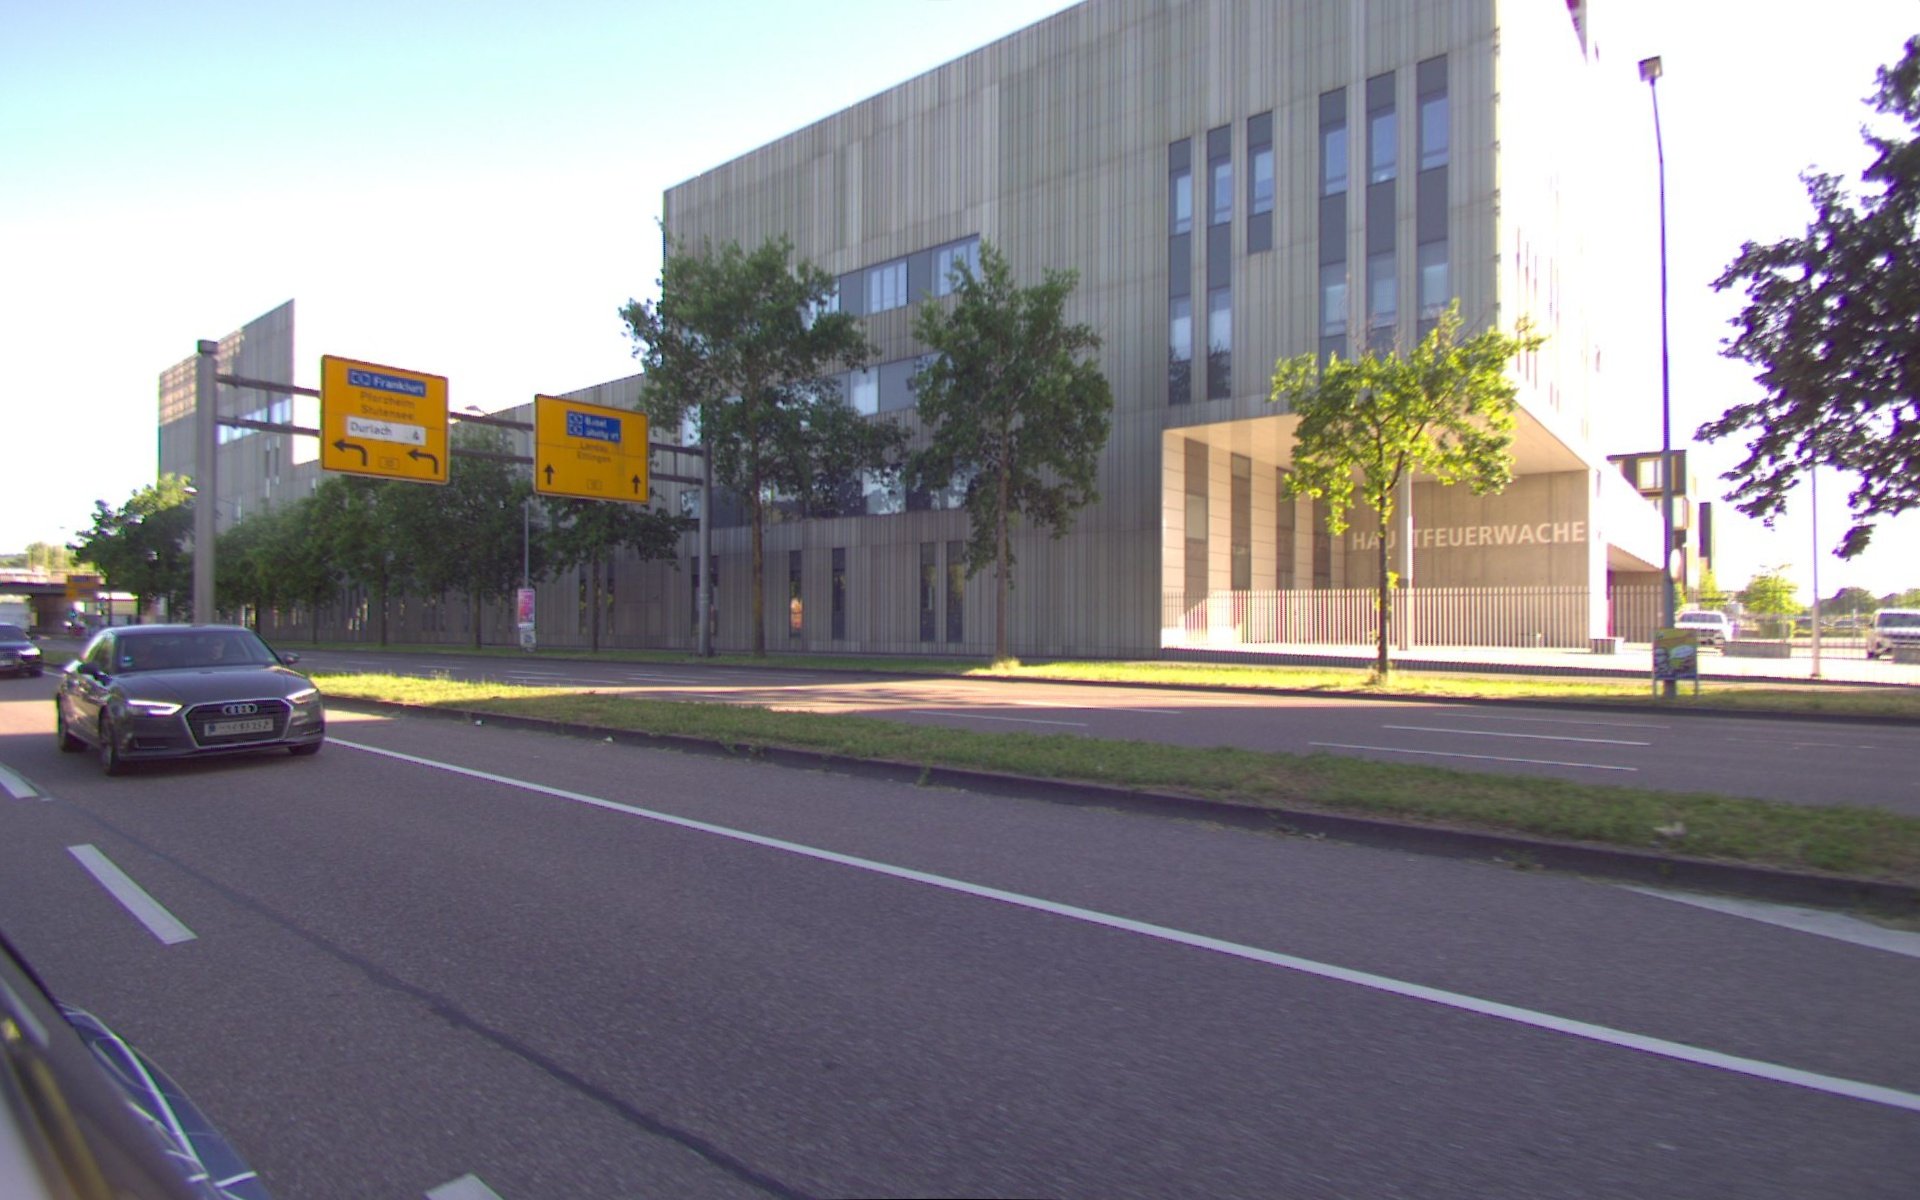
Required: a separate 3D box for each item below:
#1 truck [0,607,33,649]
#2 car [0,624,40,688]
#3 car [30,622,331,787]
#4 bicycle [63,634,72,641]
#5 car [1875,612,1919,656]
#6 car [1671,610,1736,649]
[{"bbox_3d":[-70.360,2.059,74.119,7.108,2.983,2.659,-1,-3,40],"label":"truck"},{"bbox_3d":[-25.193,1.417,26.046,3.942,1.549,1.681,-1,-1,39],"label":"car"},{"bbox_3d":[-8.498,0.960,10.884,4.361,1.415,1.680,-1,-1,40],"label":"car"},{"bbox_3d":[-106.556,4.497,120.782,1.752,0.897,0.507,-2,-2,39],"label":"bicycle"},{"bbox_3d":[34.046,1.176,36.089,1.934,1.514,4.343,-2,-2,40],"label":"car"},{"bbox_3d":[29.464,1.152,40.053,1.761,1.464,4.212,-2,-2,40],"label":"car"}]
